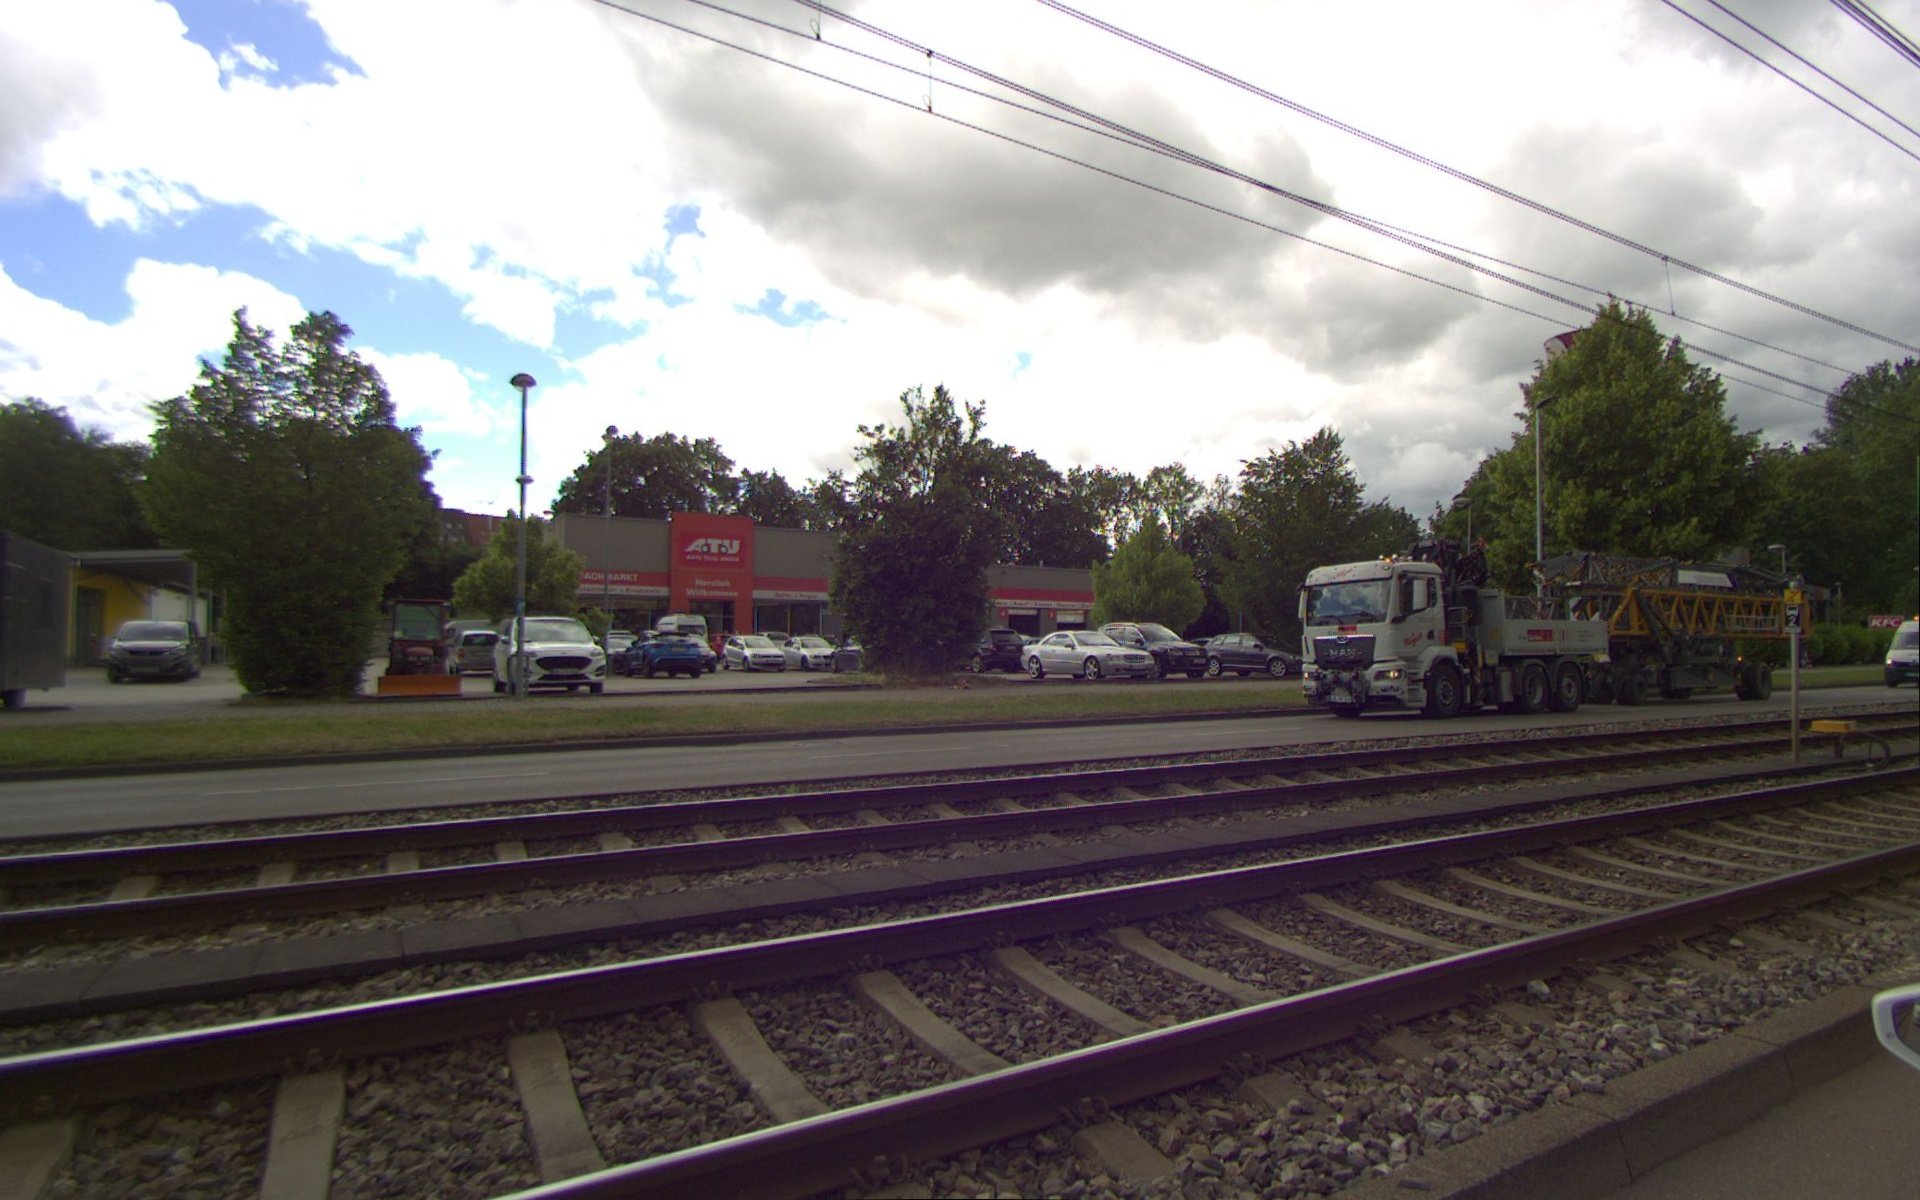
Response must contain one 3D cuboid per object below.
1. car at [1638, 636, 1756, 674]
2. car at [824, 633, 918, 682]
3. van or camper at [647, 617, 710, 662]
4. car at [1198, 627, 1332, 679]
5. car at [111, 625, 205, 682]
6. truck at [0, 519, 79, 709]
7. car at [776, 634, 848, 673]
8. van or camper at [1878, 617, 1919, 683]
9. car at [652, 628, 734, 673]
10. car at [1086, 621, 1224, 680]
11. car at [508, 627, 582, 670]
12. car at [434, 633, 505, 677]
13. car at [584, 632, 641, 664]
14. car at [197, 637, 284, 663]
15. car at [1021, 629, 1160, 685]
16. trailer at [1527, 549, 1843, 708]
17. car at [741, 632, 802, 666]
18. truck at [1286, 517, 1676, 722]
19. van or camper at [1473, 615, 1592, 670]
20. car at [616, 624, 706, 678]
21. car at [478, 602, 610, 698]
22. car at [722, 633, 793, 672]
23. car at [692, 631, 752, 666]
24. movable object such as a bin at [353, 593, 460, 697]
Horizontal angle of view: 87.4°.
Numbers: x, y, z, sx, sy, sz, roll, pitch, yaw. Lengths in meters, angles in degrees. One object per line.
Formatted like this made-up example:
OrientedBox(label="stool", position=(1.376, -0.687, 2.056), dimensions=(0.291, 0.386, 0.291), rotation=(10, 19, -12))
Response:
OrientedBox(label="car", position=(33.489, 2.471, 45.756), dimensions=(1.778, 1.620, 3.963), rotation=(1, -3, -34))
OrientedBox(label="car", position=(-3.428, 2.127, 37.891), dimensions=(1.917, 1.706, 4.265), rotation=(1, -3, -30))
OrientedBox(label="van or camper", position=(-14.214, 1.981, 50.647), dimensions=(1.803, 2.173, 4.235), rotation=(2, -3, -34))
OrientedBox(label="car", position=(9.929, 1.707, 32.946), dimensions=(1.859, 1.620, 3.963), rotation=(1, -3, -34))
OrientedBox(label="car", position=(-24.965, 1.659, 31.390), dimensions=(1.668, 1.661, 3.903), rotation=(1, -3, -30))
OrientedBox(label="truck", position=(-16.288, 0.256, 16.277), dimensions=(2.350, 2.858, 3.966), rotation=(1, -2, -32))
OrientedBox(label="car", position=(-6.224, 2.195, 41.919), dimensions=(1.663, 1.527, 3.934), rotation=(1, -3, -30))
OrientedBox(label="van or camper", position=(37.151, 1.899, 38.327), dimensions=(5.710, 2.385, 1.980), rotation=(2, -3, -36))
OrientedBox(label="car", position=(-10.666, 2.007, 40.007), dimensions=(1.716, 1.699, 4.193), rotation=(2, -3, -37))
OrientedBox(label="car", position=(5.801, 1.499, 30.335), dimensions=(1.859, 1.656, 3.963), rotation=(1, -3, -34))
OrientedBox(label="car", position=(-15.310, 1.782, 36.980), dimensions=(1.664, 1.491, 3.716), rotation=(2, -3, -36))
OrientedBox(label="car", position=(-17.697, 1.942, 36.144), dimensions=(1.664, 1.491, 3.716), rotation=(2, -3, -36))
OrientedBox(label="car", position=(-17.192, 2.363, 49.578), dimensions=(1.664, 1.491, 3.716), rotation=(2, -3, -36))
OrientedBox(label="car", position=(-37.680, 2.609, 52.685), dimensions=(3.547, 1.351, 1.464), rotation=(2, -3, -30))
OrientedBox(label="car", position=(3.637, 1.574, 28.792), dimensions=(1.662, 1.491, 4.284), rotation=(1, -2, -31))
OrientedBox(label="trailer", position=(20.741, 0.860, 28.208), dimensions=(13.158, 3.708, 2.689), rotation=(2, -3, -34))
OrientedBox(label="car", position=(-10.086, 2.588, 53.568), dimensions=(1.803, 1.762, 3.963), rotation=(2, -3, -34))
OrientedBox(label="truck", position=(11.968, 0.528, 22.401), dimensions=(10.994, 3.711, 2.691), rotation=(2, -3, -33))
OrientedBox(label="van or camper", position=(24.098, 1.753, 42.376), dimensions=(1.859, 2.163, 3.962), rotation=(1, -1, -34))
OrientedBox(label="car", position=(-10.155, 1.705, 33.917), dimensions=(1.917, 1.706, 4.265), rotation=(1, -3, -30))
OrientedBox(label="car", position=(-8.923, 1.041, 21.374), dimensions=(1.859, 1.821, 3.963), rotation=(1, -3, -34))
OrientedBox(label="car", position=(-8.357, 2.119, 41.163), dimensions=(1.663, 1.527, 3.934), rotation=(1, -3, -30))
OrientedBox(label="car", position=(-12.506, 2.512, 52.606), dimensions=(1.803, 1.762, 3.963), rotation=(2, -3, -34))
OrientedBox(label="movable object such as a bin", position=(-11.626, 0.935, 20.974), dimensions=(1.661, 1.962, 3.964), rotation=(1, -3, -33))
